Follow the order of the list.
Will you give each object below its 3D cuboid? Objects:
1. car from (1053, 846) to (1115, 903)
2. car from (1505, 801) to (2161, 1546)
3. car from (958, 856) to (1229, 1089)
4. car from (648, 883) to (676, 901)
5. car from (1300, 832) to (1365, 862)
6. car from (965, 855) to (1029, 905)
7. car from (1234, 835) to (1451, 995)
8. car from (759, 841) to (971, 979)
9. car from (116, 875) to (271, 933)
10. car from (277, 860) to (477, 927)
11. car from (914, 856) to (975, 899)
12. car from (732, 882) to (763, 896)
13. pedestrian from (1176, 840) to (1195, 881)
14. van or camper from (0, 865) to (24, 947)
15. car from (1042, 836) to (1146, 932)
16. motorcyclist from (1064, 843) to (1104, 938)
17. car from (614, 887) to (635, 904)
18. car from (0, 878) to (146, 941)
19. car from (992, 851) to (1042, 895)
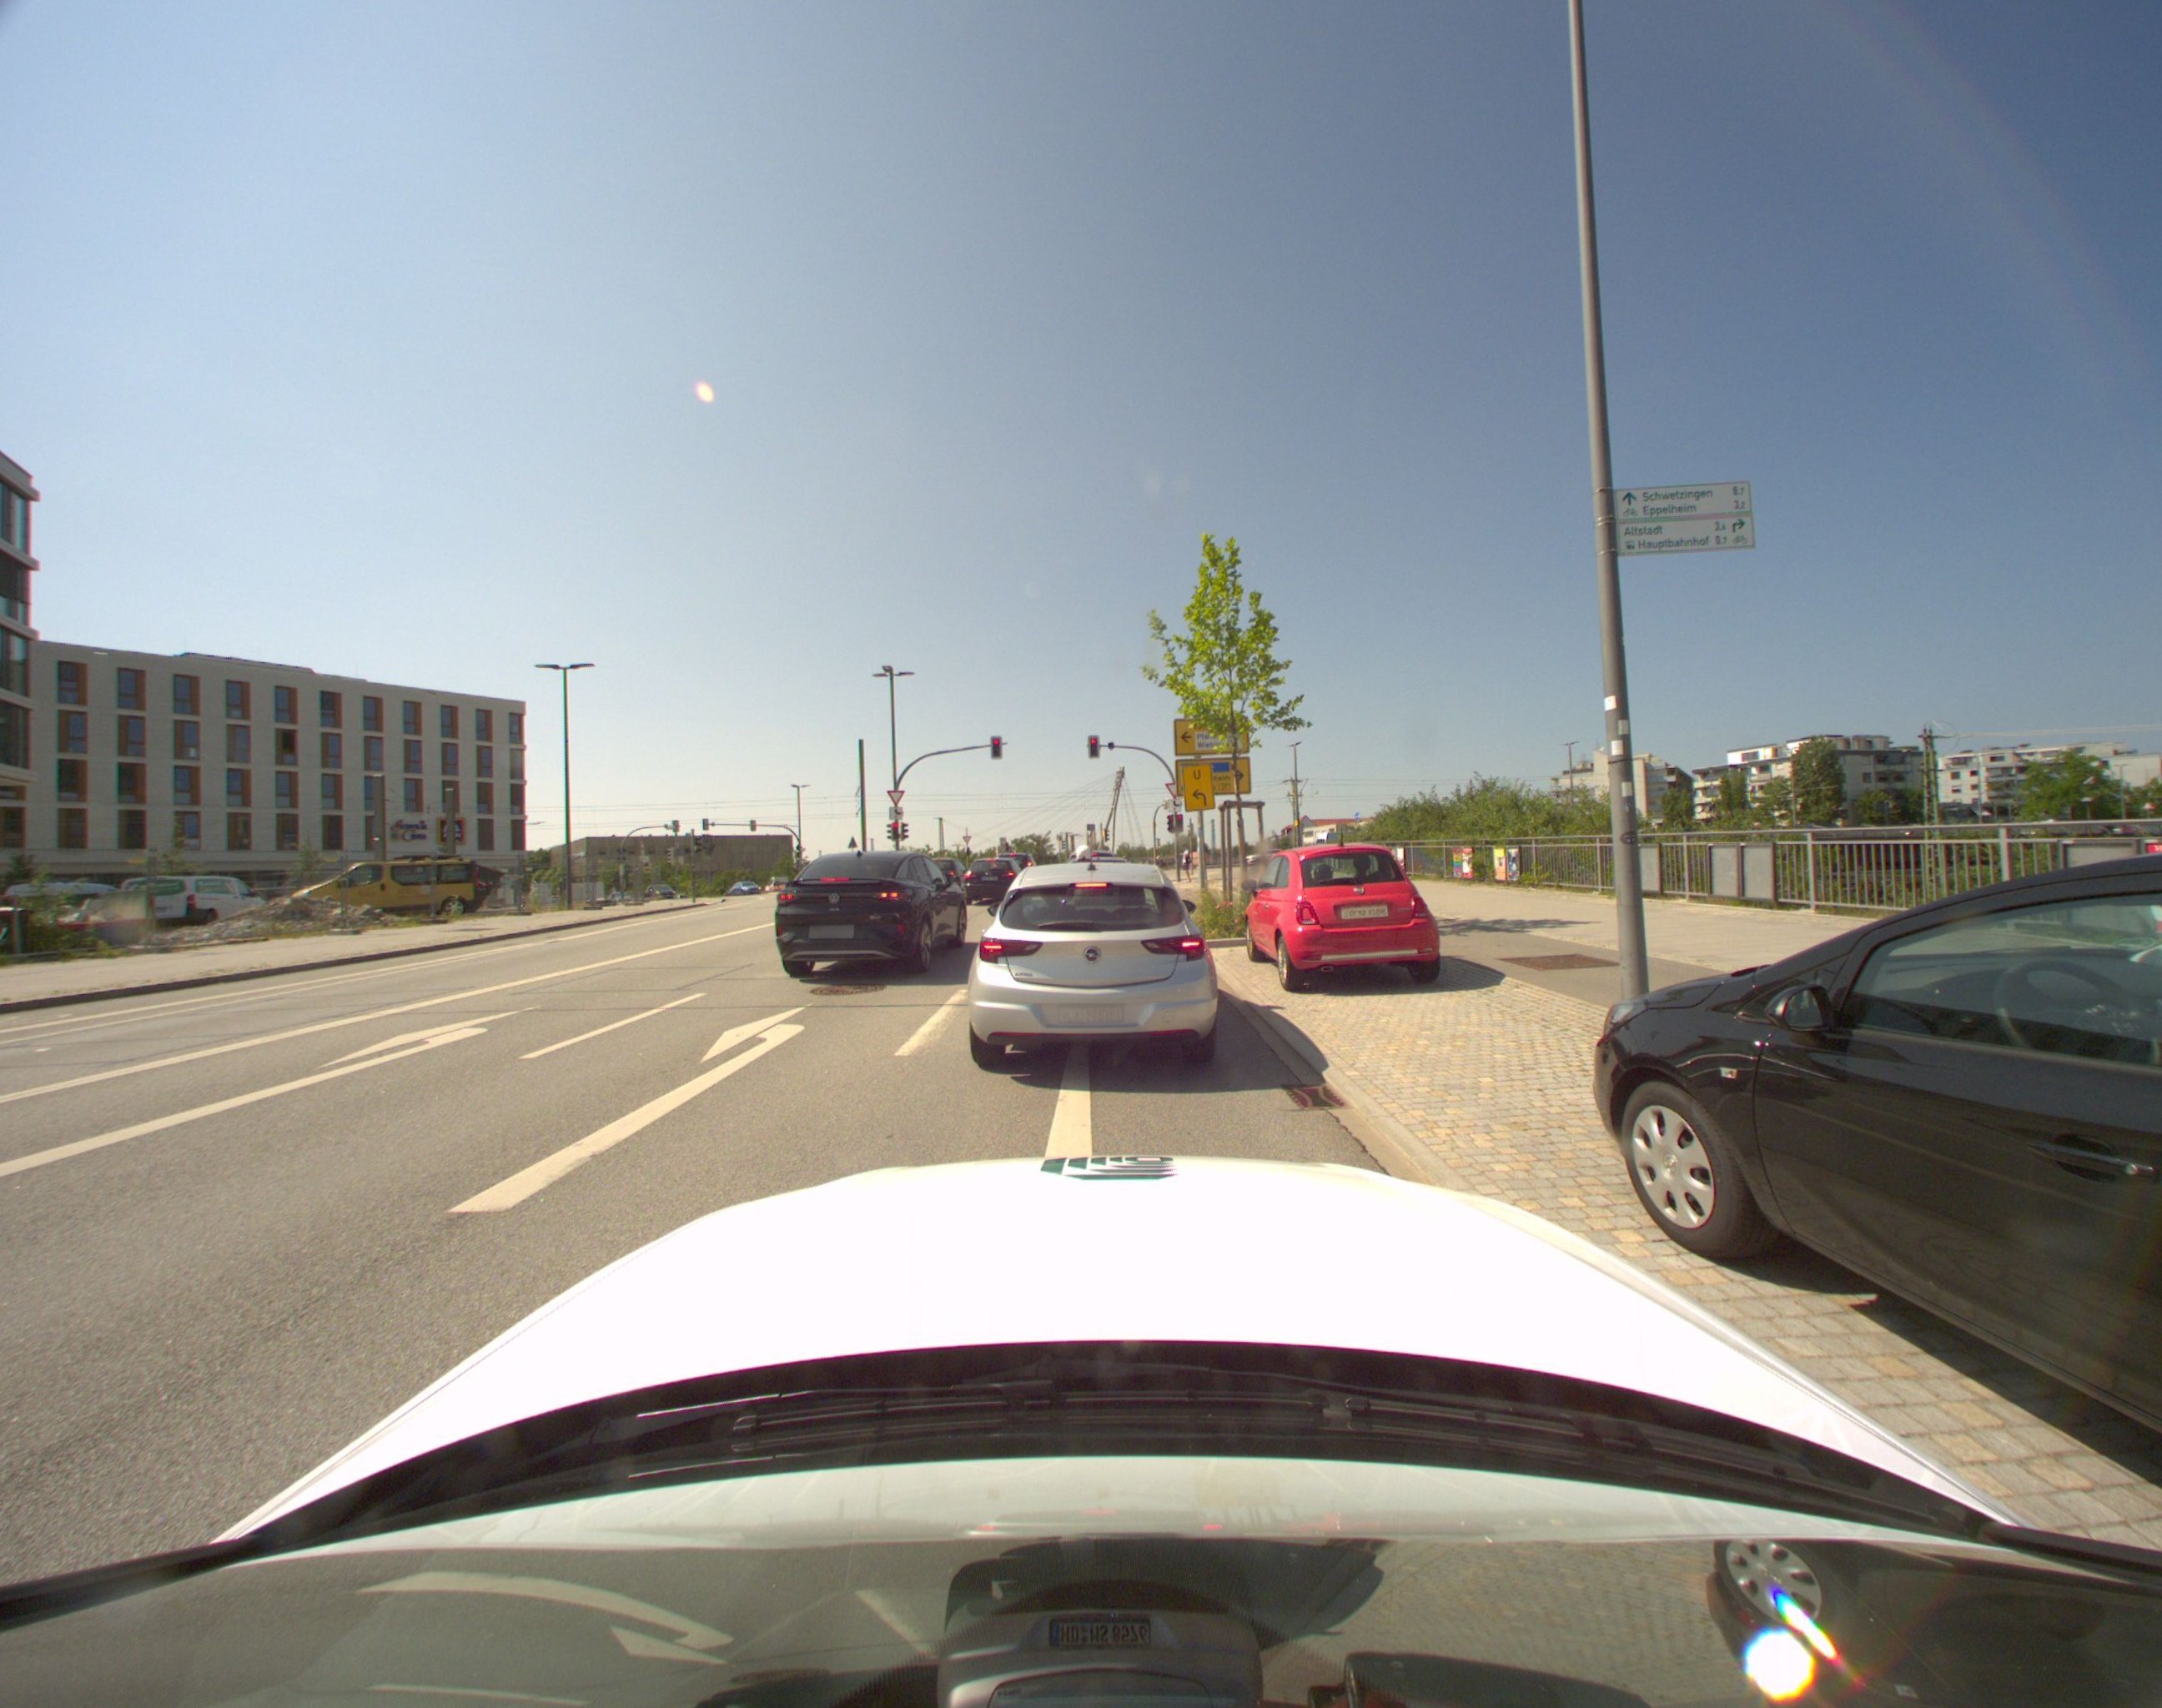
[{"bbox_3d":[0.156,0.537,24.549,1.717,1.563,4.002,0,1,2],"label":"car"},{"bbox_3d":[2.883,0.580,1.926,1.654,1.426,4.000,-4,-1,1],"label":"car"},{"bbox_3d":[0.065,0.773,7.239,1.738,1.478,3.998,0,-1,-1],"label":"car"},{"bbox_3d":[-38.525,3.441,74.844,1.686,1.476,3.368,-2,0,-37],"label":"car"},{"bbox_3d":[20.392,-0.565,66.143,5.019,2.376,1.771,-1,-1,-22],"label":"car"},{"bbox_3d":[-2.601,0.780,25.846,1.569,1.434,3.786,0,-1,1],"label":"car"},{"bbox_3d":[2.925,0.606,9.809,1.603,1.496,3.355,-4,0,3],"label":"car"},{"bbox_3d":[-2.875,0.686,11.902,1.795,1.641,4.367,0,-1,2],"label":"car"},{"bbox_3d":[-31.030,1.683,28.686,1.873,1.774,4.619,0,-1,-22],"label":"car"},{"bbox_3d":[-22.665,1.186,26.387,1.964,1.962,4.655,-1,-1,40],"label":"car"},{"bbox_3d":[-5.187,0.862,31.389,1.591,1.547,3.764,0,-1,2],"label":"car"},{"bbox_3d":[-33.215,3.476,81.093,1.831,1.331,3.954,0,-2,-38],"label":"car"},{"bbox_3d":[4.785,0.295,37.344,0.645,1.836,0.798,-4,-1,0],"label":"pedestrian"},{"bbox_3d":[-36.496,1.711,25.392,2.318,2.735,4.944,0,-1,-26],"label":"van or camper"},{"bbox_3d":[0.318,0.560,17.828,1.986,1.820,4.404,0,0,2],"label":"car"},{"bbox_3d":[0.049,0.541,12.377,0.579,1.389,0.707,0,-1,1],"label":"motorcyclist"},{"bbox_3d":[-46.208,4.152,82.405,1.578,1.587,3.441,0,-1,-35],"label":"car"},{"bbox_3d":[-33.647,1.786,27.233,1.794,1.857,3.817,0,-1,-27],"label":"car"},{"bbox_3d":[-2.444,0.723,31.828,1.644,1.615,3.819,0,-1,0],"label":"car"}]
